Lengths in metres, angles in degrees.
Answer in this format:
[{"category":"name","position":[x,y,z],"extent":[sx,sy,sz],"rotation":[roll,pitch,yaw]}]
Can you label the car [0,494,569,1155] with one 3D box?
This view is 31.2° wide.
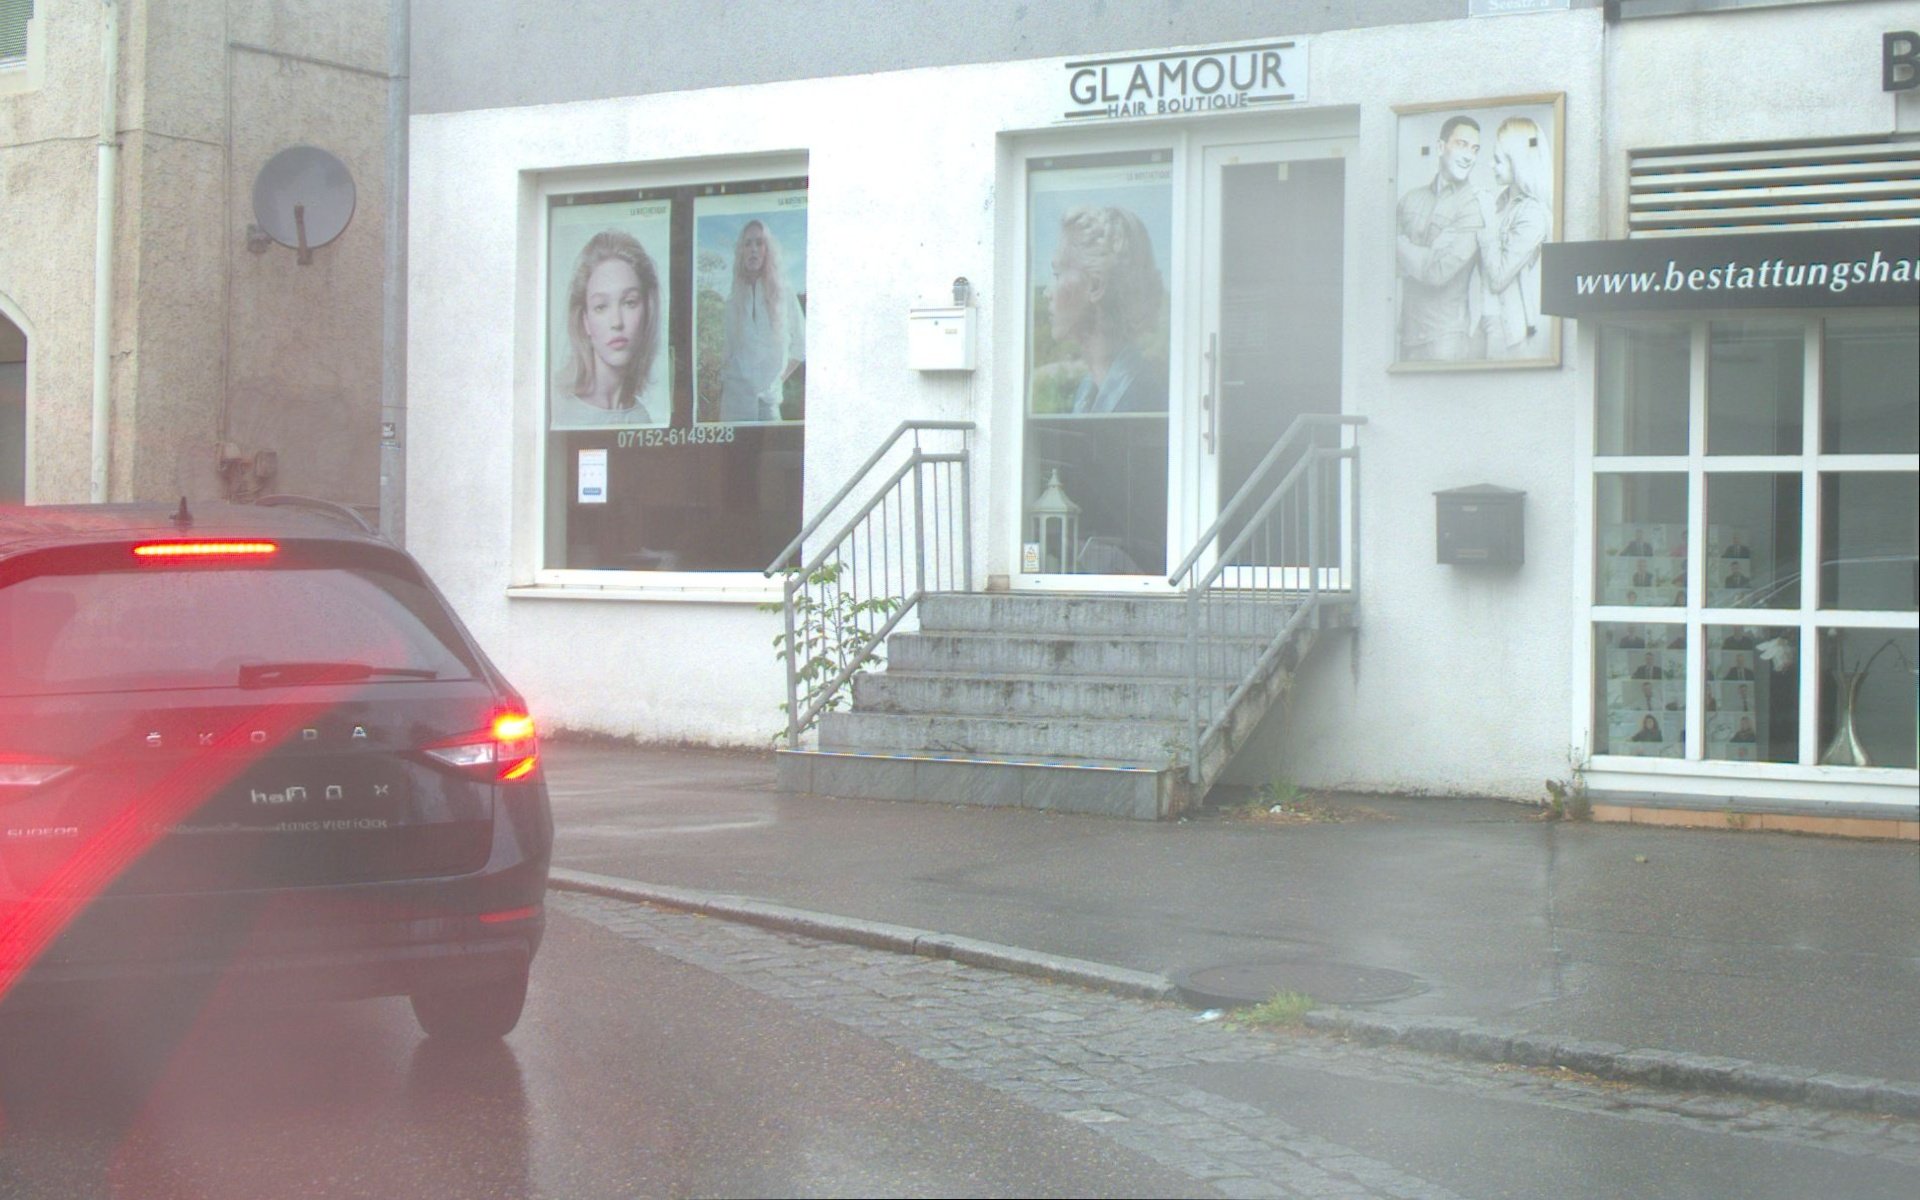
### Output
[{"category":"car","position":[-2.573,0.451,9.991],"extent":[1.732,1.445,4.243],"rotation":[-1,3,-23]}]
